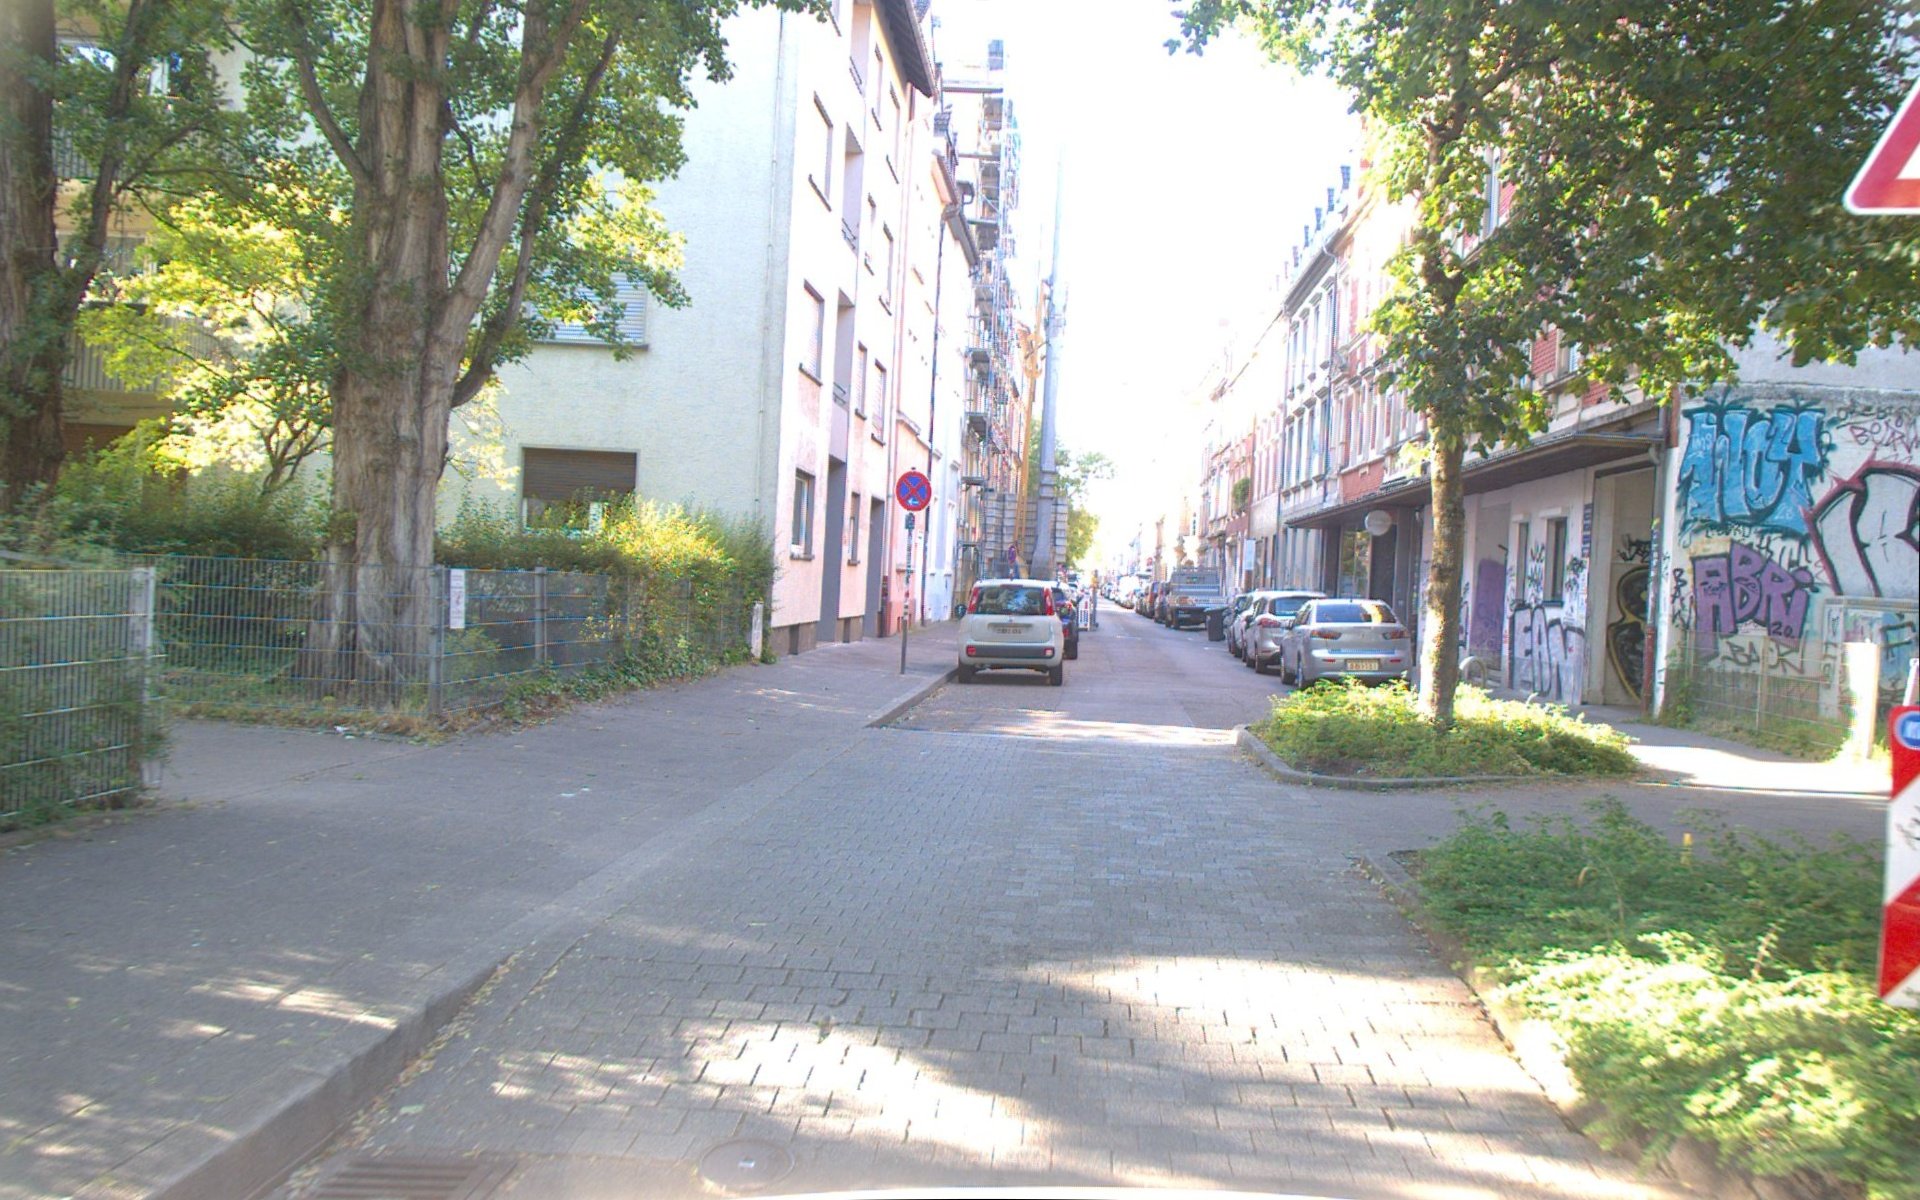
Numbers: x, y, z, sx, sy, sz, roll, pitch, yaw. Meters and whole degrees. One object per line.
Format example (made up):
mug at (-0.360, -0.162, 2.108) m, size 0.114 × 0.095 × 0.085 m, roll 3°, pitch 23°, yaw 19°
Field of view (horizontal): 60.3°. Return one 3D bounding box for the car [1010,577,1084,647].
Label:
car at (2.148, 0.273, 40.235) m, size 1.640 × 1.538 × 4.417 m, roll 2°, pitch 0°, yaw 4°

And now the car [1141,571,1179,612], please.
car at (10.772, -0.458, 89.378) m, size 1.640 × 2.066 × 3.870 m, roll 2°, pitch 0°, yaw 2°

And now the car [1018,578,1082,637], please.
car at (2.566, 0.192, 46.615) m, size 1.640 × 1.503 × 4.610 m, roll 2°, pitch 0°, yaw 4°

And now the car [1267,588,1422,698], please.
car at (6.261, 0.643, 27.373) m, size 1.685 × 1.589 × 4.400 m, roll 3°, pitch 0°, yaw 3°

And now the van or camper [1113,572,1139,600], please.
van or camper at (15.573, -1.289, 155.537) m, size 1.953 × 2.552 × 4.202 m, roll 2°, pitch 1°, yaw 0°

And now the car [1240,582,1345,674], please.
car at (6.689, 0.526, 33.598) m, size 1.605 × 1.685 × 3.872 m, roll 3°, pitch 0°, yaw 5°

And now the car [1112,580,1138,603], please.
car at (14.099, -0.777, 141.686) m, size 1.952 × 1.881 × 4.002 m, roll 2°, pitch 1°, yaw 3°

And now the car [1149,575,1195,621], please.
car at (9.834, -0.105, 76.911) m, size 1.640 × 1.997 × 4.110 m, roll 2°, pitch 0°, yaw 2°

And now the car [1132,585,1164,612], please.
car at (11.612, -0.079, 102.412) m, size 1.640 × 1.598 × 3.870 m, roll 2°, pitch 0°, yaw 2°

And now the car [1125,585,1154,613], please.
car at (13.784, -0.107, 127.204) m, size 1.952 × 2.048 × 4.002 m, roll 2°, pitch 1°, yaw 3°

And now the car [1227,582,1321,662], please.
car at (7.371, 0.479, 39.118) m, size 1.710 × 1.704 × 4.343 m, roll 2°, pitch 0°, yaw 5°

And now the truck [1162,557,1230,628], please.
truck at (9.421, -0.321, 66.403) m, size 2.144 × 2.652 × 5.236 m, roll 2°, pitch 1°, yaw 3°

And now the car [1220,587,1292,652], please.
car at (7.899, 0.482, 44.420) m, size 1.563 × 1.587 × 3.816 m, roll 2°, pitch 1°, yaw 6°

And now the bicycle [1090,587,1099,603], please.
bicycle at (11.060, -0.418, 136.003) m, size 0.709 × 1.207 × 2.044 m, roll 4°, pitch 2°, yaw 4°

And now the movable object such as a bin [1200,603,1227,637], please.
movable object such as a bin at (8.298, 0.643, 54.190) m, size 0.778 × 1.074 × 0.660 m, roll 3°, pitch 1°, yaw 4°

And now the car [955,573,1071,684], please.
car at (0.844, 0.407, 26.067) m, size 1.640 × 1.566 × 3.870 m, roll 2°, pitch 0°, yaw 2°

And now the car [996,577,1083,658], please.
car at (1.648, 0.330, 34.865) m, size 1.693 × 1.566 × 4.379 m, roll 1°, pitch 0°, yaw 2°

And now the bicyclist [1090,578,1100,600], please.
bicyclist at (11.090, -0.890, 135.992) m, size 0.715 × 1.791 × 0.836 m, roll 3°, pitch 1°, yaw 4°

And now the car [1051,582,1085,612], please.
car at (5.696, -0.179, 87.717) m, size 1.640 × 1.470 × 3.870 m, roll 2°, pitch 0°, yaw 2°

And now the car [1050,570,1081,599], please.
car at (6.207, -0.895, 97.884) m, size 1.640 × 1.598 × 3.870 m, roll 2°, pitch 0°, yaw 2°
